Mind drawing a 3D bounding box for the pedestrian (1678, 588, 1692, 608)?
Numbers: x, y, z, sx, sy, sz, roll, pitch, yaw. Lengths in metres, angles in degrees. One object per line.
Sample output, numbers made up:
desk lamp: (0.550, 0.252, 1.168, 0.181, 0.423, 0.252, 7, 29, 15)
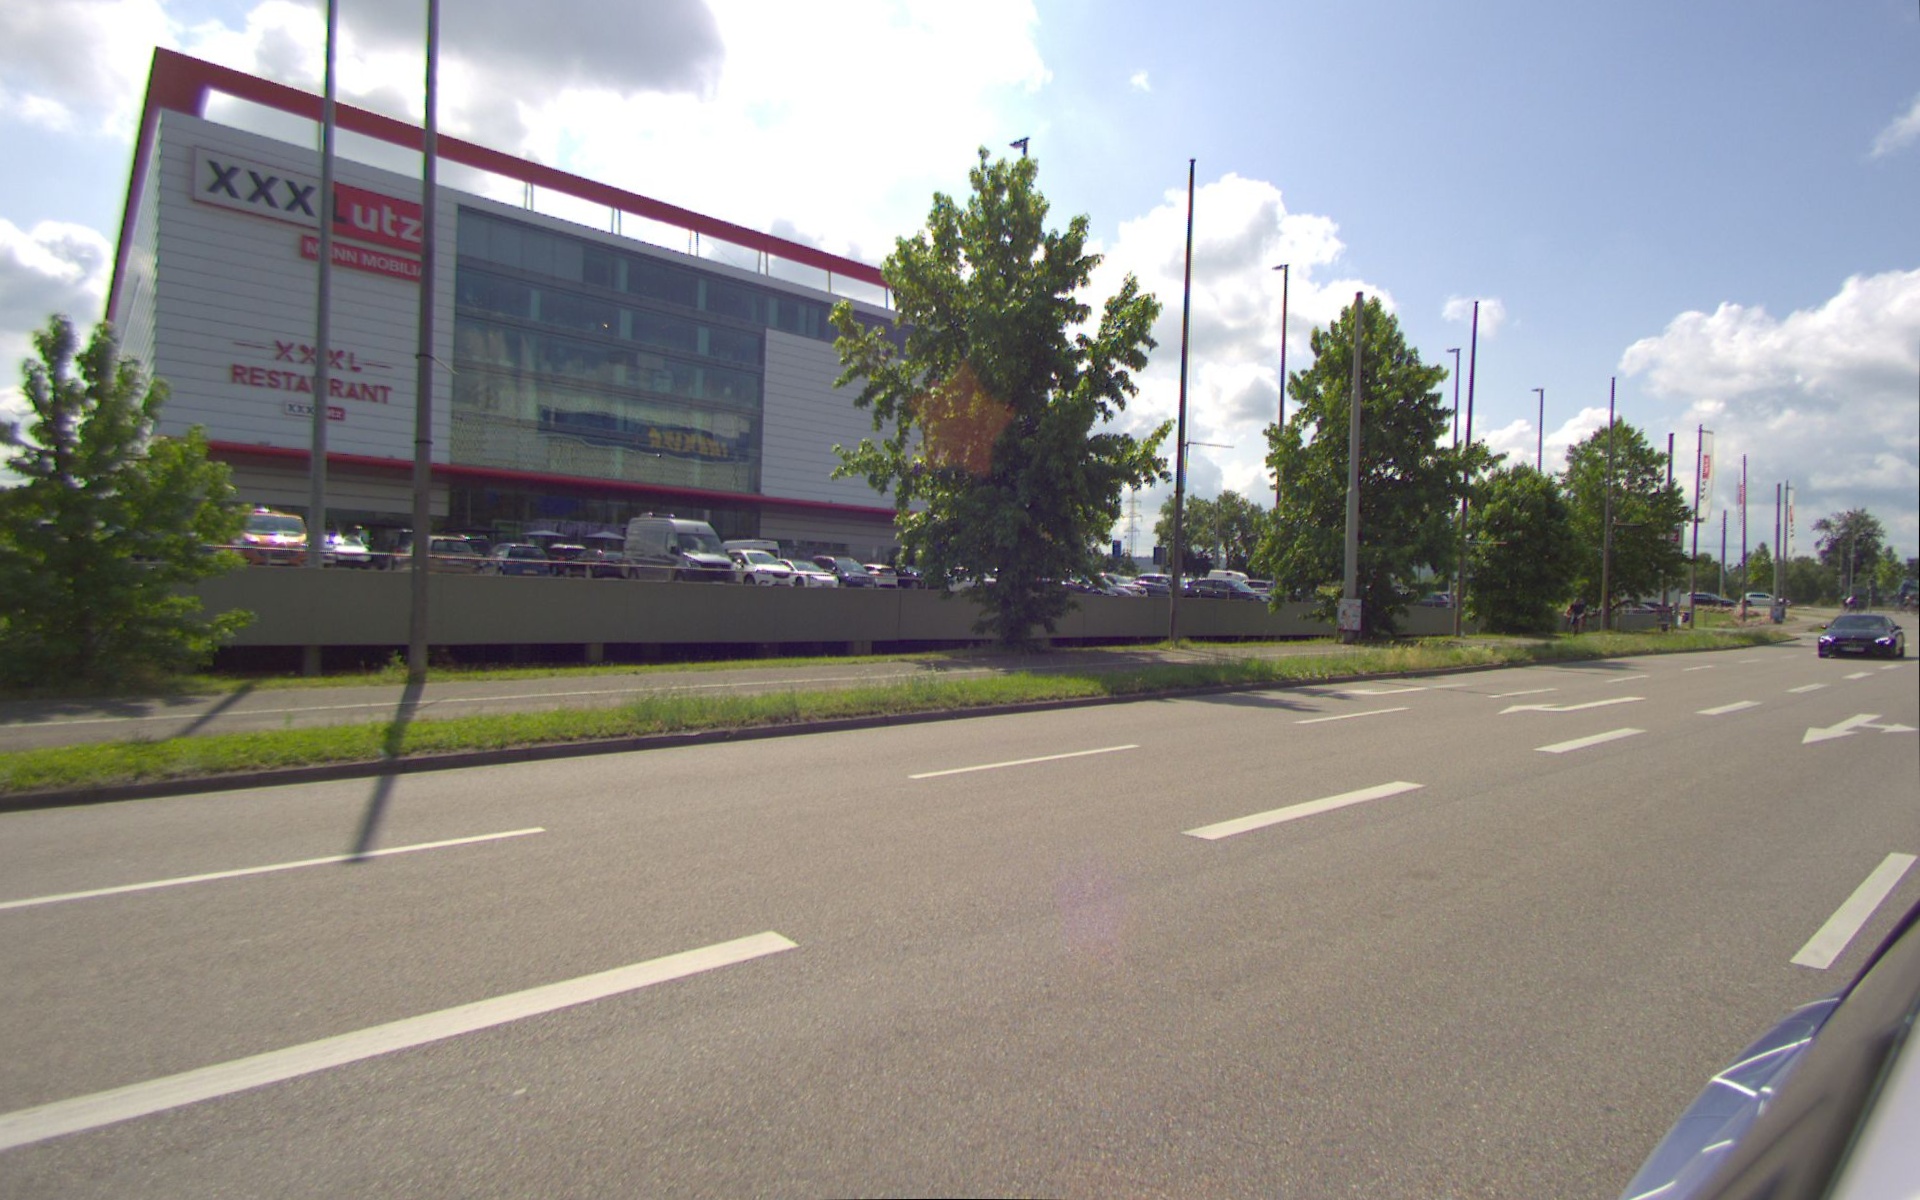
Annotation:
pedestrian: (70.893, -0.183, 98.896, 0.864, 1.786, 0.849, 6, 1, 44)

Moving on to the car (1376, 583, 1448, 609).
car: (30.242, -0.259, 67.737, 4.056, 1.550, 1.714, 4, 2, 45)

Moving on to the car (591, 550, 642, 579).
car: (-18.613, -1.882, 54.785, 1.523, 1.455, 3.389, 1, 0, -40)

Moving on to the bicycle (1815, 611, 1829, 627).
bicycle: (52.962, 1.178, 62.179, 1.518, 0.964, 0.517, 0, 1, -43)

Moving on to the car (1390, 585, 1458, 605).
car: (35.148, -0.389, 76.730, 1.814, 1.379, 4.369, 0, 2, -40)

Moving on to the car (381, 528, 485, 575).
car: (-18.275, -1.607, 34.979, 1.954, 1.472, 4.871, 0, 1, -43)

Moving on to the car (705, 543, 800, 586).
car: (-7.887, -1.291, 38.257, 1.718, 1.533, 3.990, 0, 1, -43)

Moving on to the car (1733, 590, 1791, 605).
car: (83.320, -0.235, 105.140, 1.981, 1.430, 4.485, 0, 2, -45)

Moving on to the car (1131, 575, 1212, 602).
car: (11.603, -0.642, 55.707, 1.659, 1.341, 4.191, 1, 2, -42)

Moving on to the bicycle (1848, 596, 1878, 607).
bicycle: (84.253, 0.138, 94.455, 1.963, 0.973, 0.593, 1, -1, 20)

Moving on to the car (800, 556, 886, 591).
car: (-5.424, -1.197, 46.659, 1.860, 1.452, 4.188, 1, -1, -42)

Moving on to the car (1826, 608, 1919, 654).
car: (28.942, 0.935, 31.926, 4.088, 1.335, 1.796, 0, 0, -40)

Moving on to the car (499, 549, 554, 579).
car: (-21.886, -1.803, 51.048, 1.525, 1.387, 3.443, 1, 0, -41)

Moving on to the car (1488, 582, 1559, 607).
car: (39.127, -0.409, 70.318, 1.666, 1.608, 4.019, 2, 0, -43)

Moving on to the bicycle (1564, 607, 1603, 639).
bicycle: (22.045, 0.806, 35.753, 1.934, 1.081, 0.624, 1, 1, -42)

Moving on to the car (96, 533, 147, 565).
car: (-36.807, -2.198, 44.420, 1.665, 1.199, 3.904, 1, 0, -40)

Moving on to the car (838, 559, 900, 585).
car: (-5.420, -1.613, 59.950, 1.601, 1.438, 3.992, 1, 0, -42)

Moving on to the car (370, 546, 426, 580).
car: (-26.321, -1.695, 47.355, 1.557, 1.483, 3.531, 2, 0, -41)

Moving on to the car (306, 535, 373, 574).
car: (-28.227, -2.028, 45.971, 1.965, 1.563, 3.994, 1, 0, -41)

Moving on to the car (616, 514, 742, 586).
car: (-10.340, -1.742, 36.914, 2.027, 2.396, 5.663, 0, 1, -43)

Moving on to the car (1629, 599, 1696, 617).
car: (59.837, 0.668, 86.236, 1.765, 1.458, 4.366, 0, 1, -41)

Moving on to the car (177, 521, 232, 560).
car: (-31.720, -2.450, 42.467, 1.557, 1.428, 3.531, 1, 0, -41)

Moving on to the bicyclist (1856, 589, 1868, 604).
bicyclist: (84.190, -0.345, 94.484, 0.679, 1.342, 0.588, 1, -1, 21)

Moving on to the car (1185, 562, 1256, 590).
car: (30.715, -2.850, 119.648, 3.066, 3.193, 7.898, 0, 2, -39)

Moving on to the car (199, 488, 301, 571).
car: (-21.959, -2.060, 31.206, 1.953, 2.223, 5.167, 0, 0, -42)

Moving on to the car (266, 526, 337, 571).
car: (-25.891, -1.969, 39.744, 1.608, 1.595, 3.899, 2, 0, -44)

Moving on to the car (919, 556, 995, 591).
car: (-0.174, -1.407, 54.582, 1.965, 1.742, 3.993, 1, 0, -41)

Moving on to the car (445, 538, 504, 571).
car: (-23.906, -2.184, 49.756, 1.606, 1.461, 3.903, 1, 0, -41)

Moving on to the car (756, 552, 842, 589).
car: (-7.104, -1.320, 44.344, 1.696, 1.452, 4.190, 2, 1, -42)

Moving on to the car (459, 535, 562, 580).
car: (-16.462, -1.507, 36.922, 1.954, 1.502, 4.871, 0, 1, -43)

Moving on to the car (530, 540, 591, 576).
car: (-20.780, -2.131, 52.573, 1.719, 1.727, 3.746, 2, 0, -42)

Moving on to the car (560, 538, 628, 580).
car: (-17.574, -1.919, 48.472, 1.744, 1.861, 3.890, 2, 0, -42)

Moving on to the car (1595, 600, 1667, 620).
car: (52.778, 0.779, 79.640, 1.824, 1.495, 4.367, 0, 0, -40)

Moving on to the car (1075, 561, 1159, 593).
car: (8.146, -1.186, 52.739, 1.967, 1.590, 3.990, 0, 1, -44)

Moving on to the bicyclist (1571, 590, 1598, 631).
bicyclist: (22.069, 0.360, 35.764, 0.702, 1.430, 0.616, 1, 0, -41)

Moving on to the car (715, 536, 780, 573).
car: (-12.437, -2.638, 58.968, 1.965, 1.976, 3.993, 2, 0, -42)
